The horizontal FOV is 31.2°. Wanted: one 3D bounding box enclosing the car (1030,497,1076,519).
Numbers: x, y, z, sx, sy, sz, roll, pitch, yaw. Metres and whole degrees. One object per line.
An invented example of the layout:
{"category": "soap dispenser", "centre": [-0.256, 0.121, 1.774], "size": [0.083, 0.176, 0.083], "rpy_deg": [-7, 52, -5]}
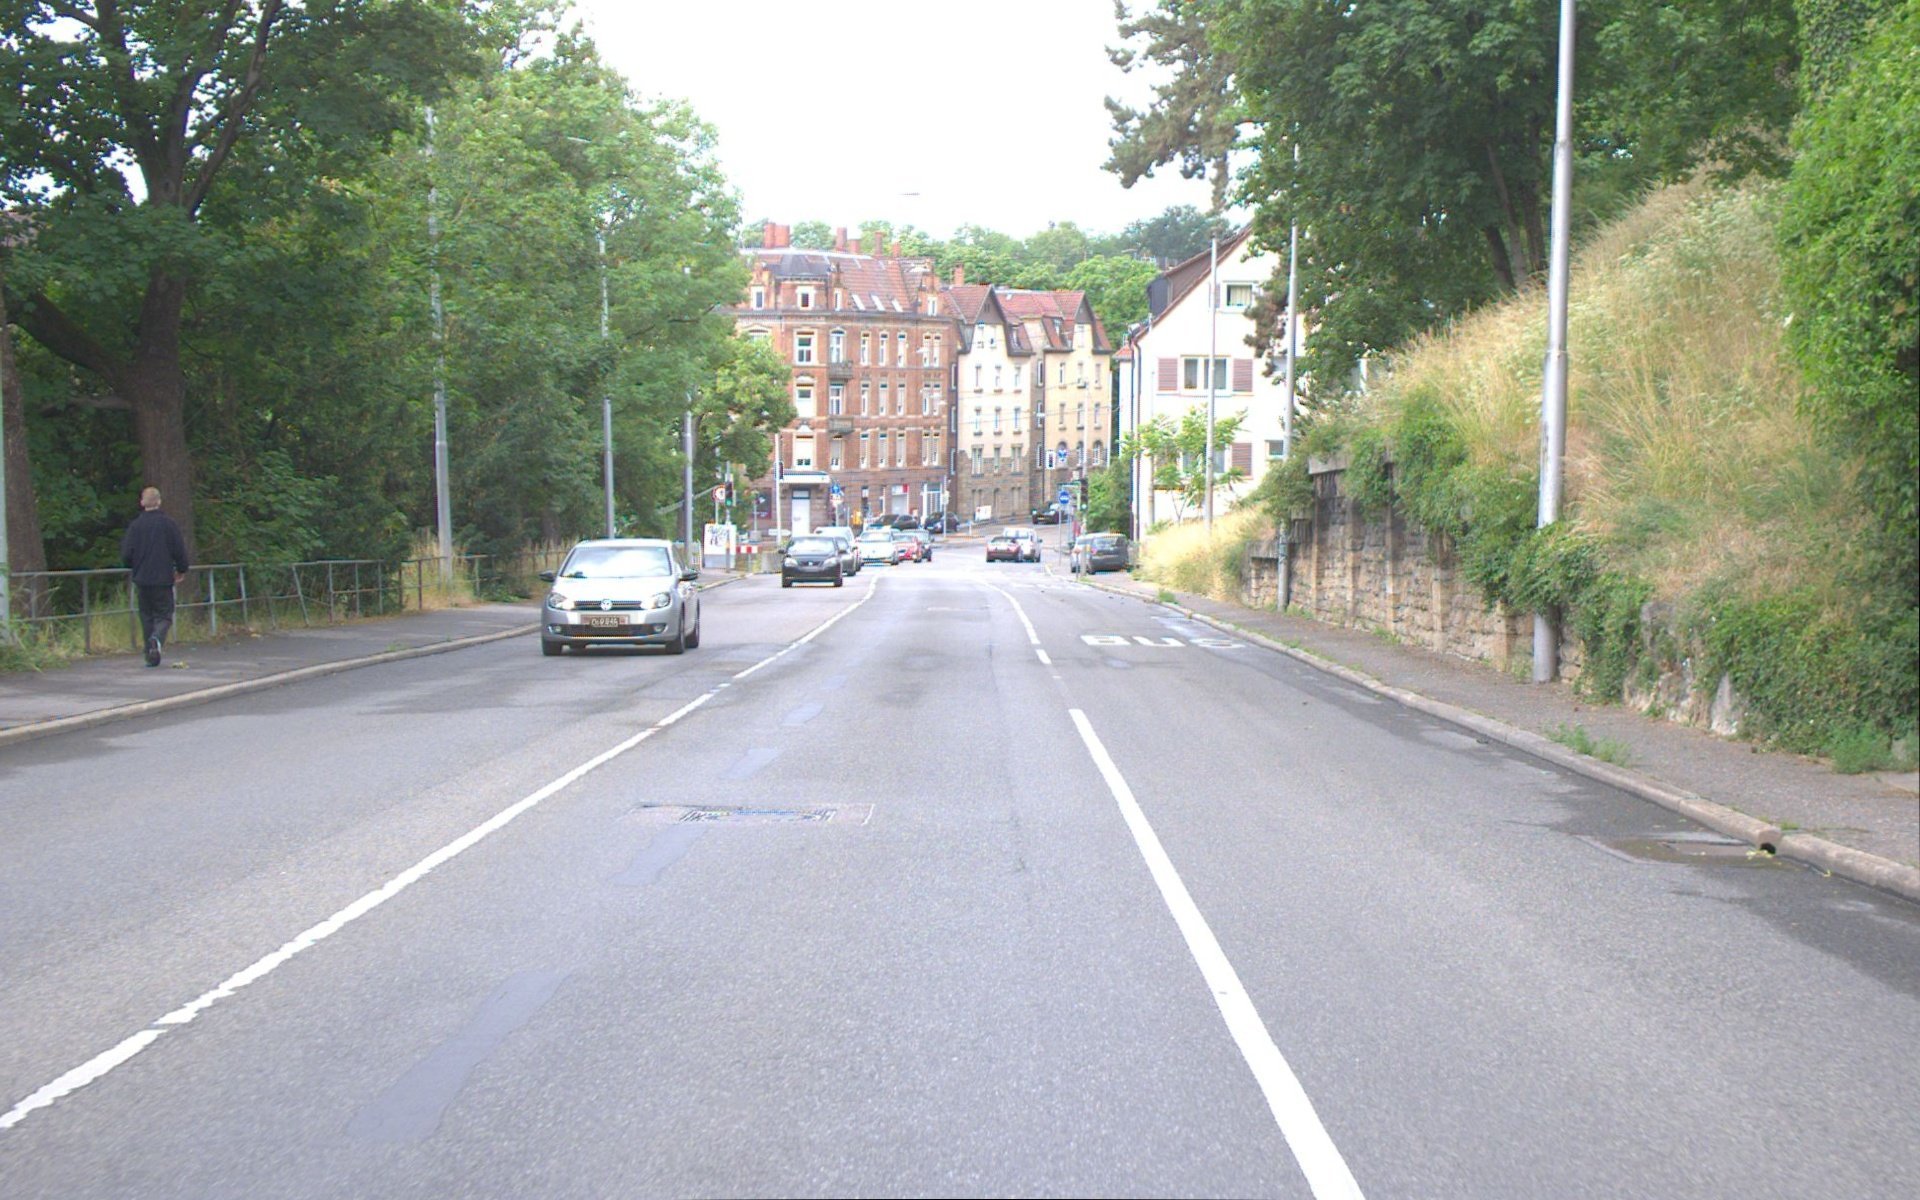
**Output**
{"category": "car", "centre": [6.927, -6.825, 255.664], "size": [1.984, 1.569, 4.370], "rpy_deg": [-1, 1, 23]}

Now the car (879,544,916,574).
{"category": "car", "centre": [-3.091, -2.039, 170.966], "size": [1.784, 1.454, 4.429], "rpy_deg": [-1, 1, 0]}

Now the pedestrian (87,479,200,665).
{"category": "pedestrian", "centre": [-8.101, -0.288, 34.168], "size": [0.788, 1.768, 1.209], "rpy_deg": [3, 1, -2]}

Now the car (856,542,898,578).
{"category": "car", "centre": [-3.669, -1.791, 152.542], "size": [1.784, 1.569, 4.281], "rpy_deg": [-1, 1, 0]}

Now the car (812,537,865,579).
{"category": "car", "centre": [-4.189, -1.467, 118.894], "size": [1.712, 1.422, 4.139], "rpy_deg": [0, 1, -1]}

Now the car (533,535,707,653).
{"category": "car", "centre": [-4.317, -0.110, 44.195], "size": [1.794, 1.422, 4.143], "rpy_deg": [0, 1, 0]}

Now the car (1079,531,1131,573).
{"category": "car", "centre": [5.303, -1.746, 126.035], "size": [1.681, 1.446, 4.000], "rpy_deg": [-3, 0, 0]}

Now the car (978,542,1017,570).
{"category": "car", "centre": [2.045, -2.385, 186.449], "size": [1.817, 1.425, 3.999], "rpy_deg": [2, 1, 5]}

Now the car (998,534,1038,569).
{"category": "car", "centre": [3.257, -2.725, 192.994], "size": [1.909, 1.877, 3.999], "rpy_deg": [2, 1, 5]}

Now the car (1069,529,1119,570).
{"category": "car", "centre": [5.272, -1.993, 134.904], "size": [1.794, 1.446, 4.718], "rpy_deg": [-3, 1, 4]}

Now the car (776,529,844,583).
{"category": "car", "centre": [-4.144, -1.233, 95.353], "size": [1.669, 1.442, 3.688], "rpy_deg": [-1, 1, 1]}
